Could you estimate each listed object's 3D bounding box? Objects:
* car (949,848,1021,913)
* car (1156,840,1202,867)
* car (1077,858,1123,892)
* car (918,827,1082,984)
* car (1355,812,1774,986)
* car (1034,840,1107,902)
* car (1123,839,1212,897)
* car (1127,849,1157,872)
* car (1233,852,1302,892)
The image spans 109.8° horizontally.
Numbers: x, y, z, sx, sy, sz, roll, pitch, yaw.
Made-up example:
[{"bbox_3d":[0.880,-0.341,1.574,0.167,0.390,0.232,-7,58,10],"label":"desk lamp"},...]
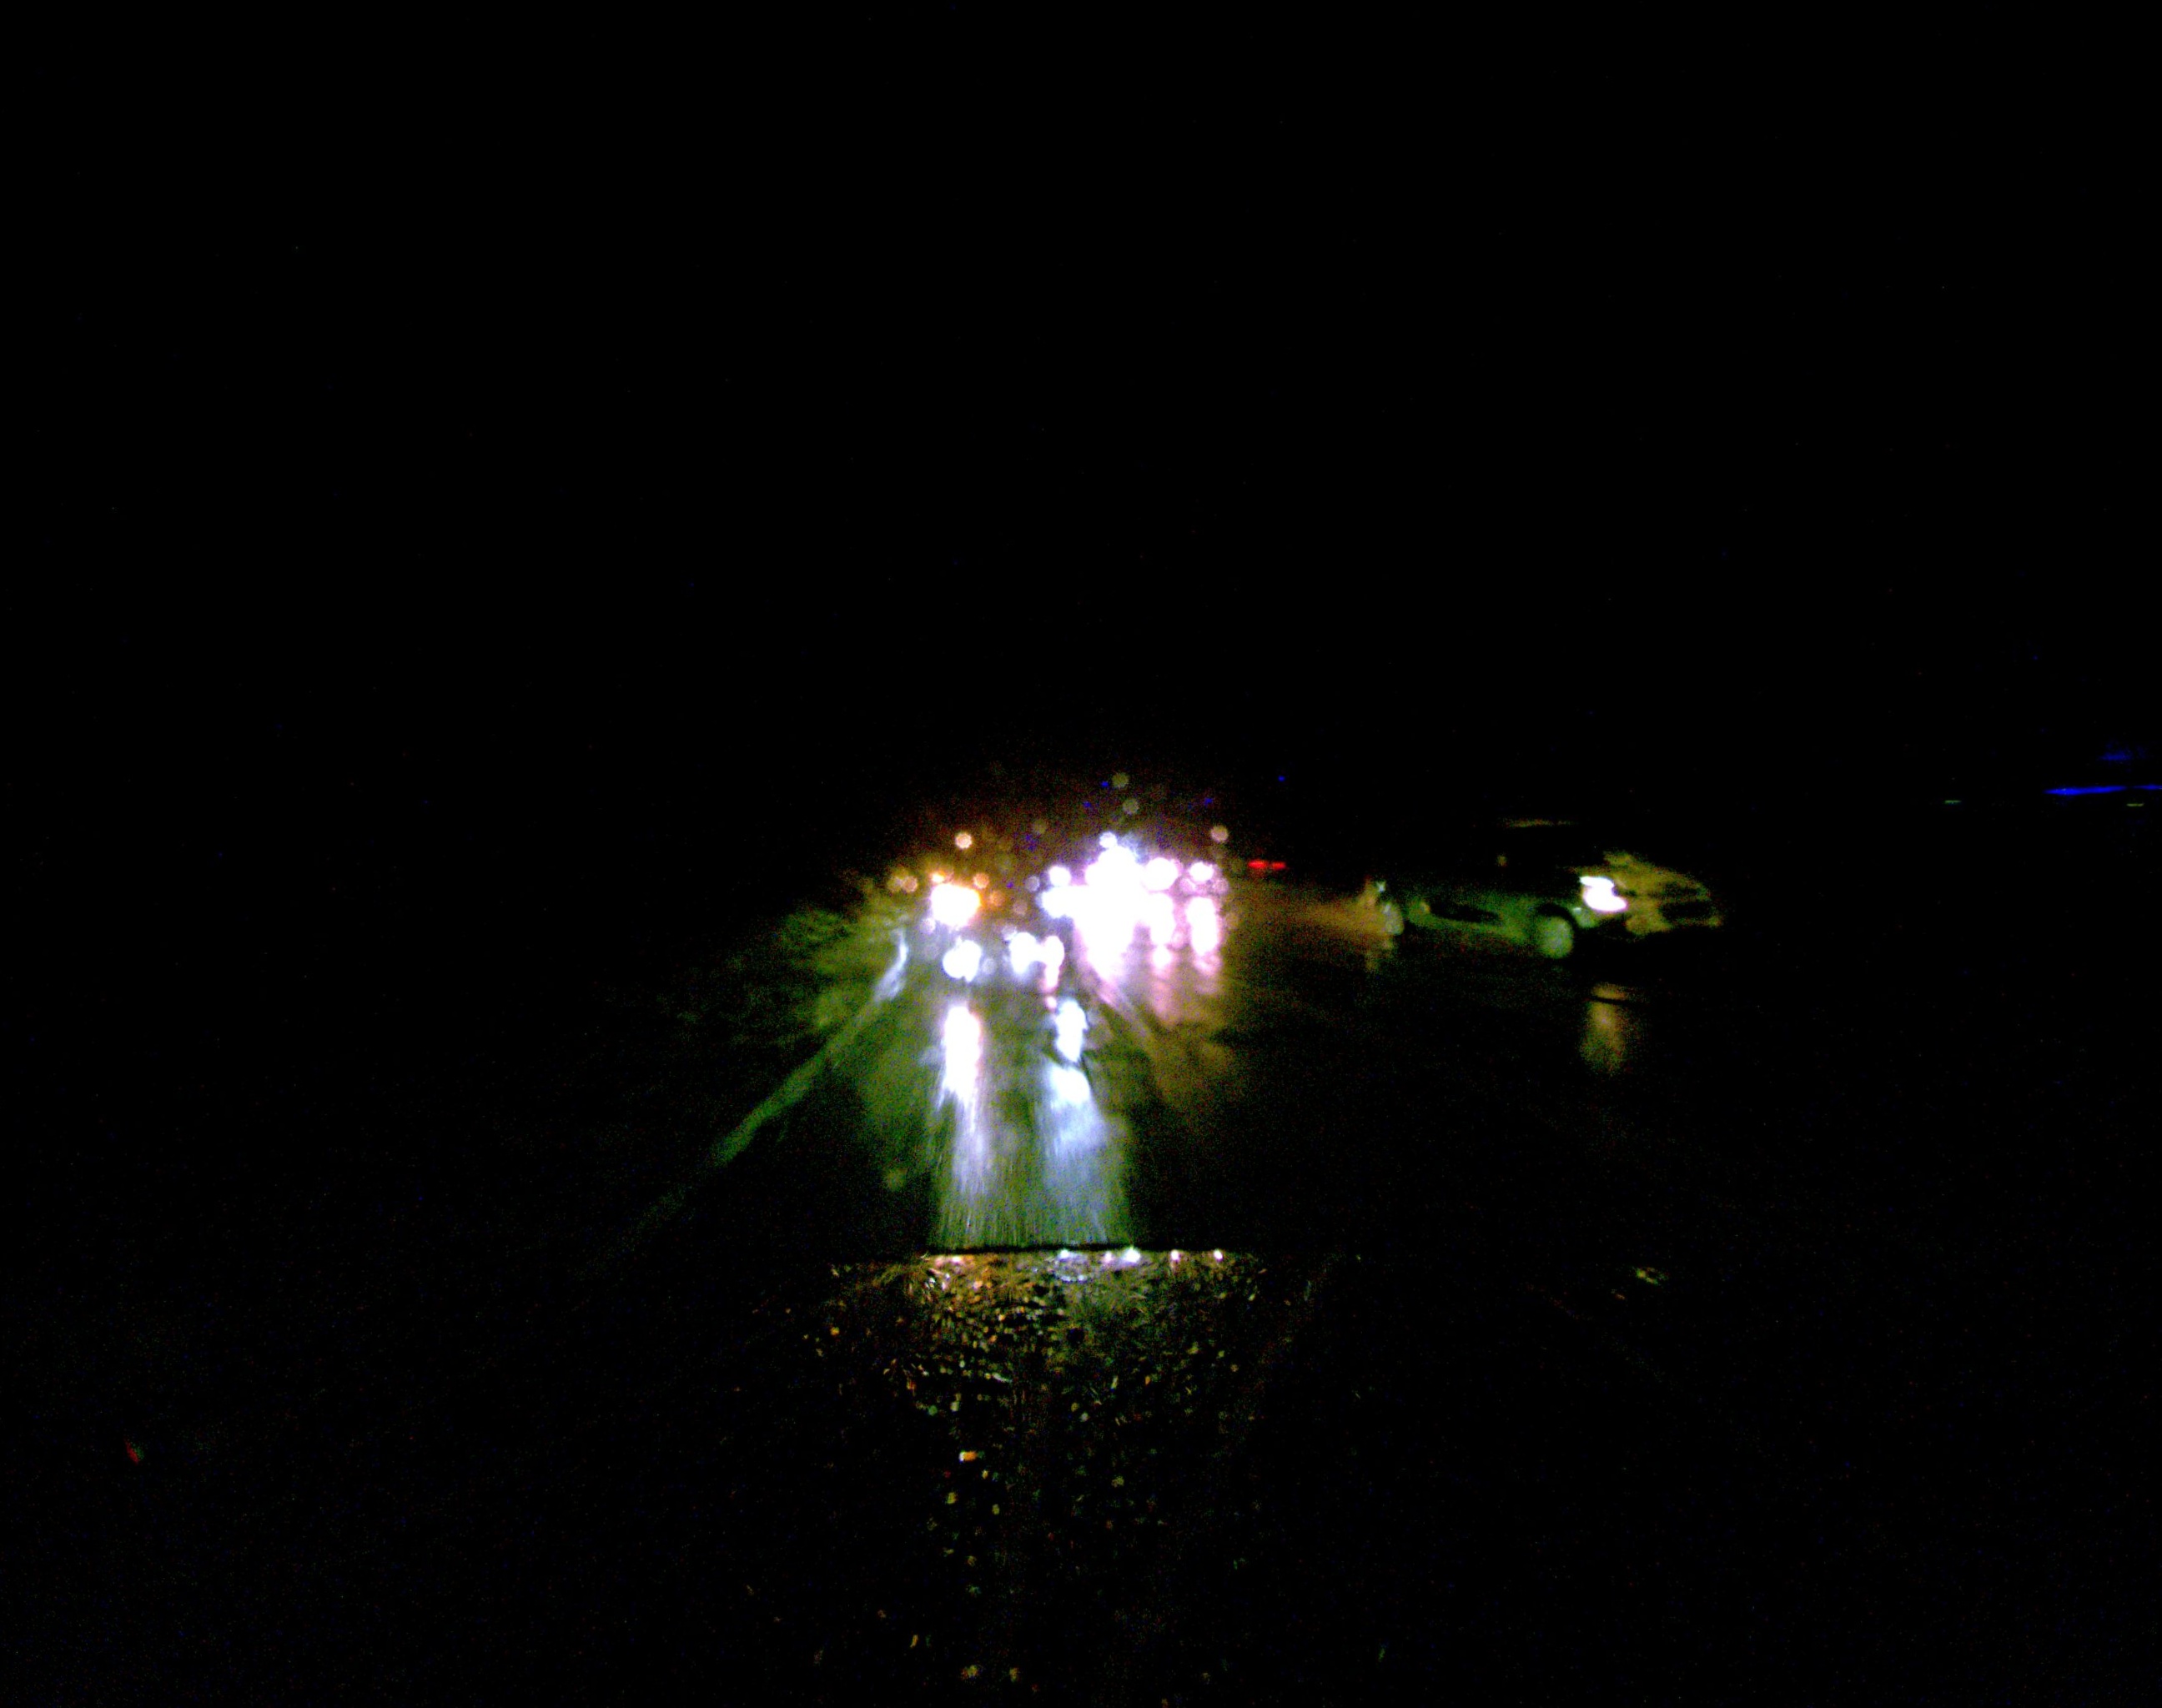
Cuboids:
[{"bbox_3d":[-2.757,0.699,21.088,1.688,1.523,3.984,-4,0,-10],"label":"car"},{"bbox_3d":[6.810,-0.048,53.406,2.036,1.781,4.783,-2,0,-7],"label":"car"},{"bbox_3d":[0.909,0.999,38.199,1.681,1.437,4.171,-2,2,-7],"label":"car"},{"bbox_3d":[-1.172,0.598,11.870,2.004,1.914,4.366,-2,2,-4],"label":"car"},{"bbox_3d":[6.075,0.457,10.408,2.001,1.783,4.715,-1,0,-15],"label":"car"},{"bbox_3d":[-0.444,0.470,25.326,1.783,1.820,4.553,-2,2,-8],"label":"car"},{"bbox_3d":[2.776,0.398,25.395,1.789,1.587,4.231,1,4,-10],"label":"car"},{"bbox_3d":[5.780,0.616,72.372,1.803,2.002,3.997,-4,0,-9],"label":"car"},{"bbox_3d":[9.996,0.910,41.041,2.000,1.926,3.995,-4,1,-12],"label":"car"}]
